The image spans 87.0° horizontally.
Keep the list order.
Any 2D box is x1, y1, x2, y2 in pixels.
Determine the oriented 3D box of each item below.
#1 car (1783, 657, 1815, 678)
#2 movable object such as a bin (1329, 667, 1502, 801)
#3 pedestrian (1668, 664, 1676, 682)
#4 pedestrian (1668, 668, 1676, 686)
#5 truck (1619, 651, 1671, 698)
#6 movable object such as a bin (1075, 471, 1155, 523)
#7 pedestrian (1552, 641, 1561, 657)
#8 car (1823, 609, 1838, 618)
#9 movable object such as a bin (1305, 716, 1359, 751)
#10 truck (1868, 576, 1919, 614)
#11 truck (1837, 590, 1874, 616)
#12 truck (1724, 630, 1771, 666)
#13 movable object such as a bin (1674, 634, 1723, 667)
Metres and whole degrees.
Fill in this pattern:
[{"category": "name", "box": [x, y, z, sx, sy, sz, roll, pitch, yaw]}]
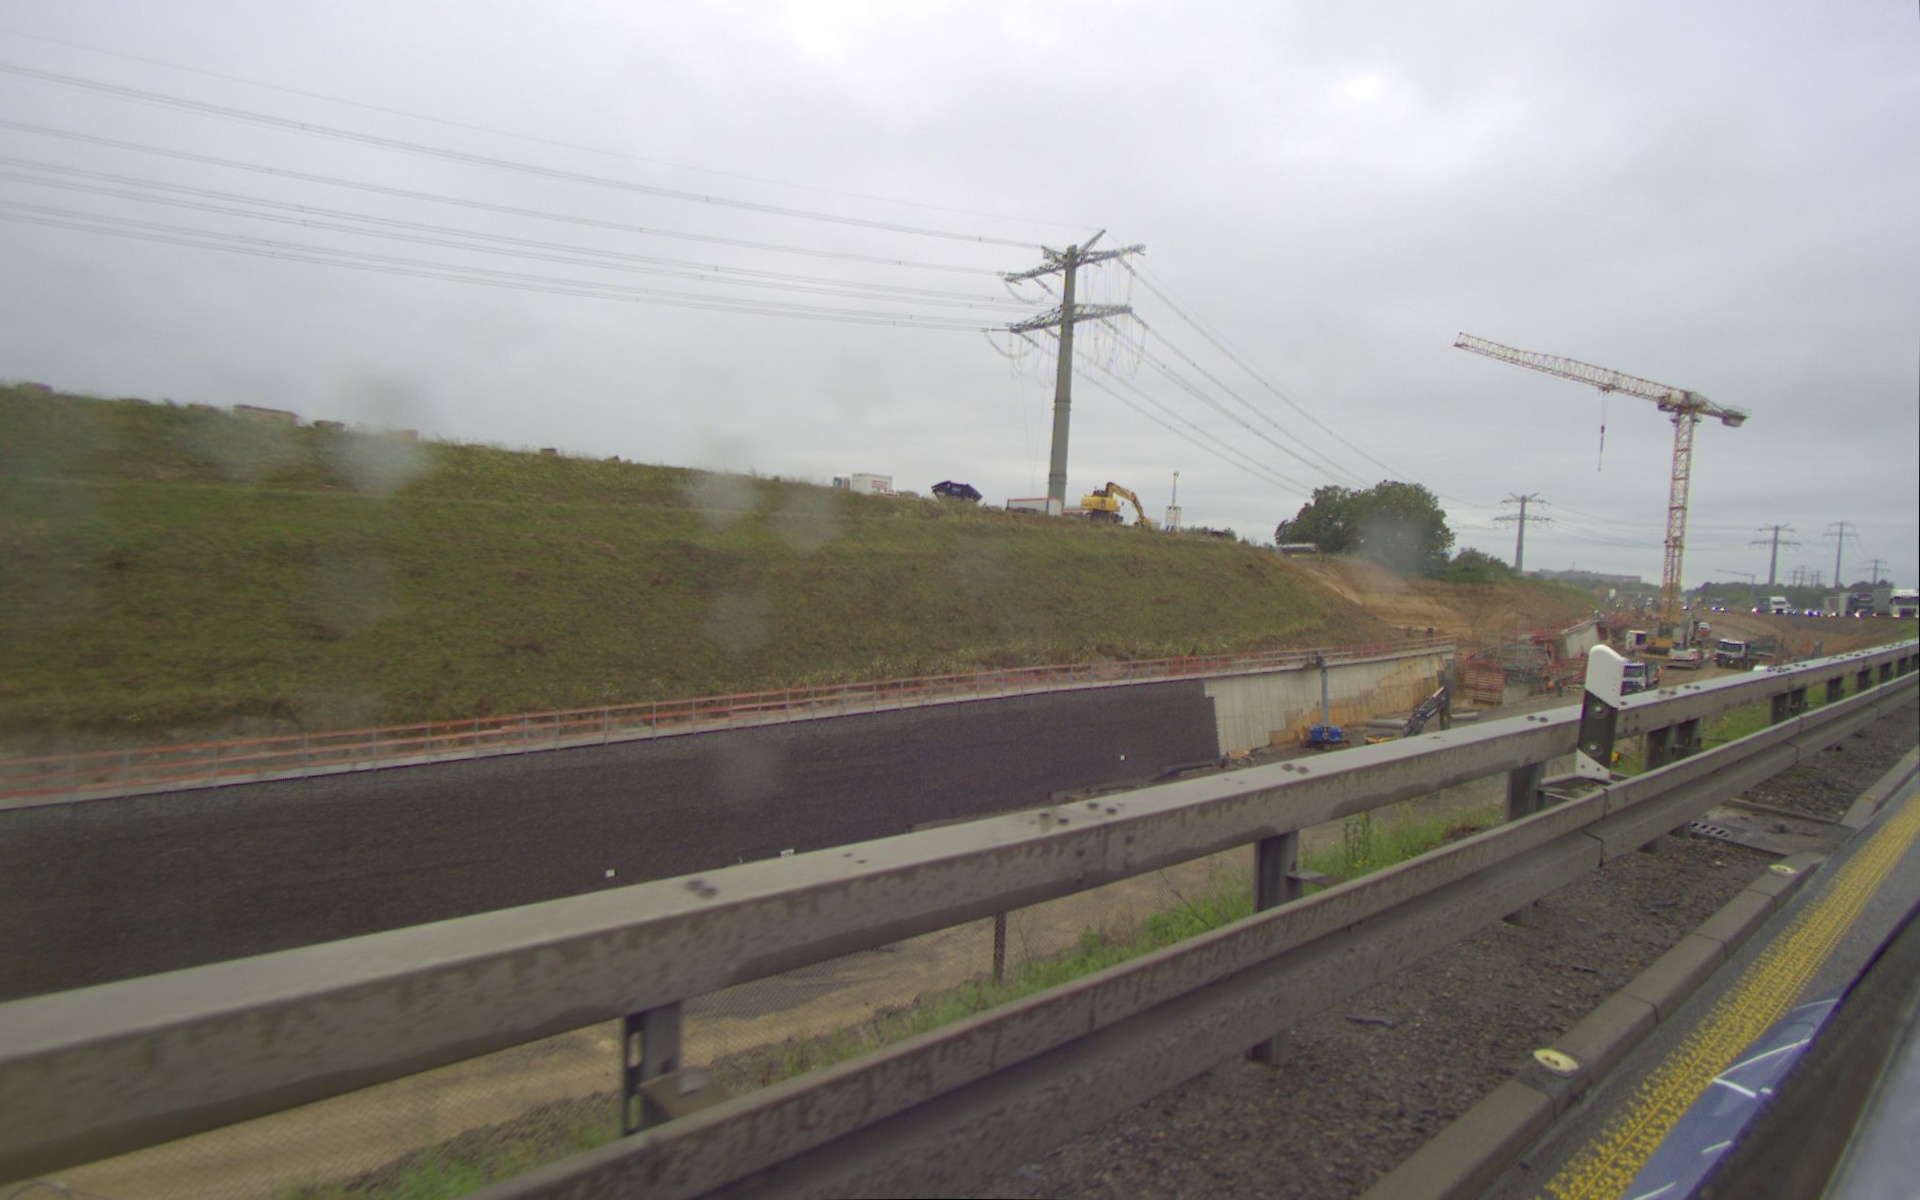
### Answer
[{"category": "car", "box": [97.966, 7.859, 118.171, 3.932, 2.041, 1.994, 0, -13, -43]}, {"category": "movable object such as a bin", "box": [26.713, 7.414, 58.912, 11.893, 5.740, 4.897, -3, 1, -43]}, {"category": "pedestrian", "box": [77.303, 7.915, 109.820, 0.601, 1.928, 0.475, 3, 2, 40]}, {"category": "pedestrian", "box": [76.634, 8.286, 108.889, 0.601, 1.928, 0.605, 3, 2, 40]}, {"category": "truck", "box": [66.406, 7.071, 97.972, 2.703, 3.655, 8.934, 3, 3, 43]}, {"category": "movable object such as a bin", "box": [14.725, -9.647, 95.739, 8.039, 4.258, 3.104, 1, 1, -43]}, {"category": "pedestrian", "box": [71.275, 5.823, 120.880, 0.570, 1.827, 0.490, -3, -3, -10]}, {"category": "car", "box": [145.619, 2.306, 169.386, 1.782, 1.445, 3.943, 0, 0, 39]}, {"category": "movable object such as a bin", "box": [25.619, 9.148, 69.679, 2.513, 1.935, 3.209, -2, -1, 41]}, {"category": "truck", "box": [112.694, -0.581, 121.897, 4.300, 4.400, 13.217, 0, 0, 39]}, {"category": "truck", "box": [142.154, 0.436, 160.723, 3.526, 3.943, 8.226, 0, 0, 36]}, {"category": "truck", "box": [96.603, 5.787, 124.064, 8.764, 3.583, 3.355, -3, 3, -44]}, {"category": "movable object such as a bin", "box": [89.205, 6.074, 122.249, 6.538, 3.467, 3.514, -1, 2, -41]}]
